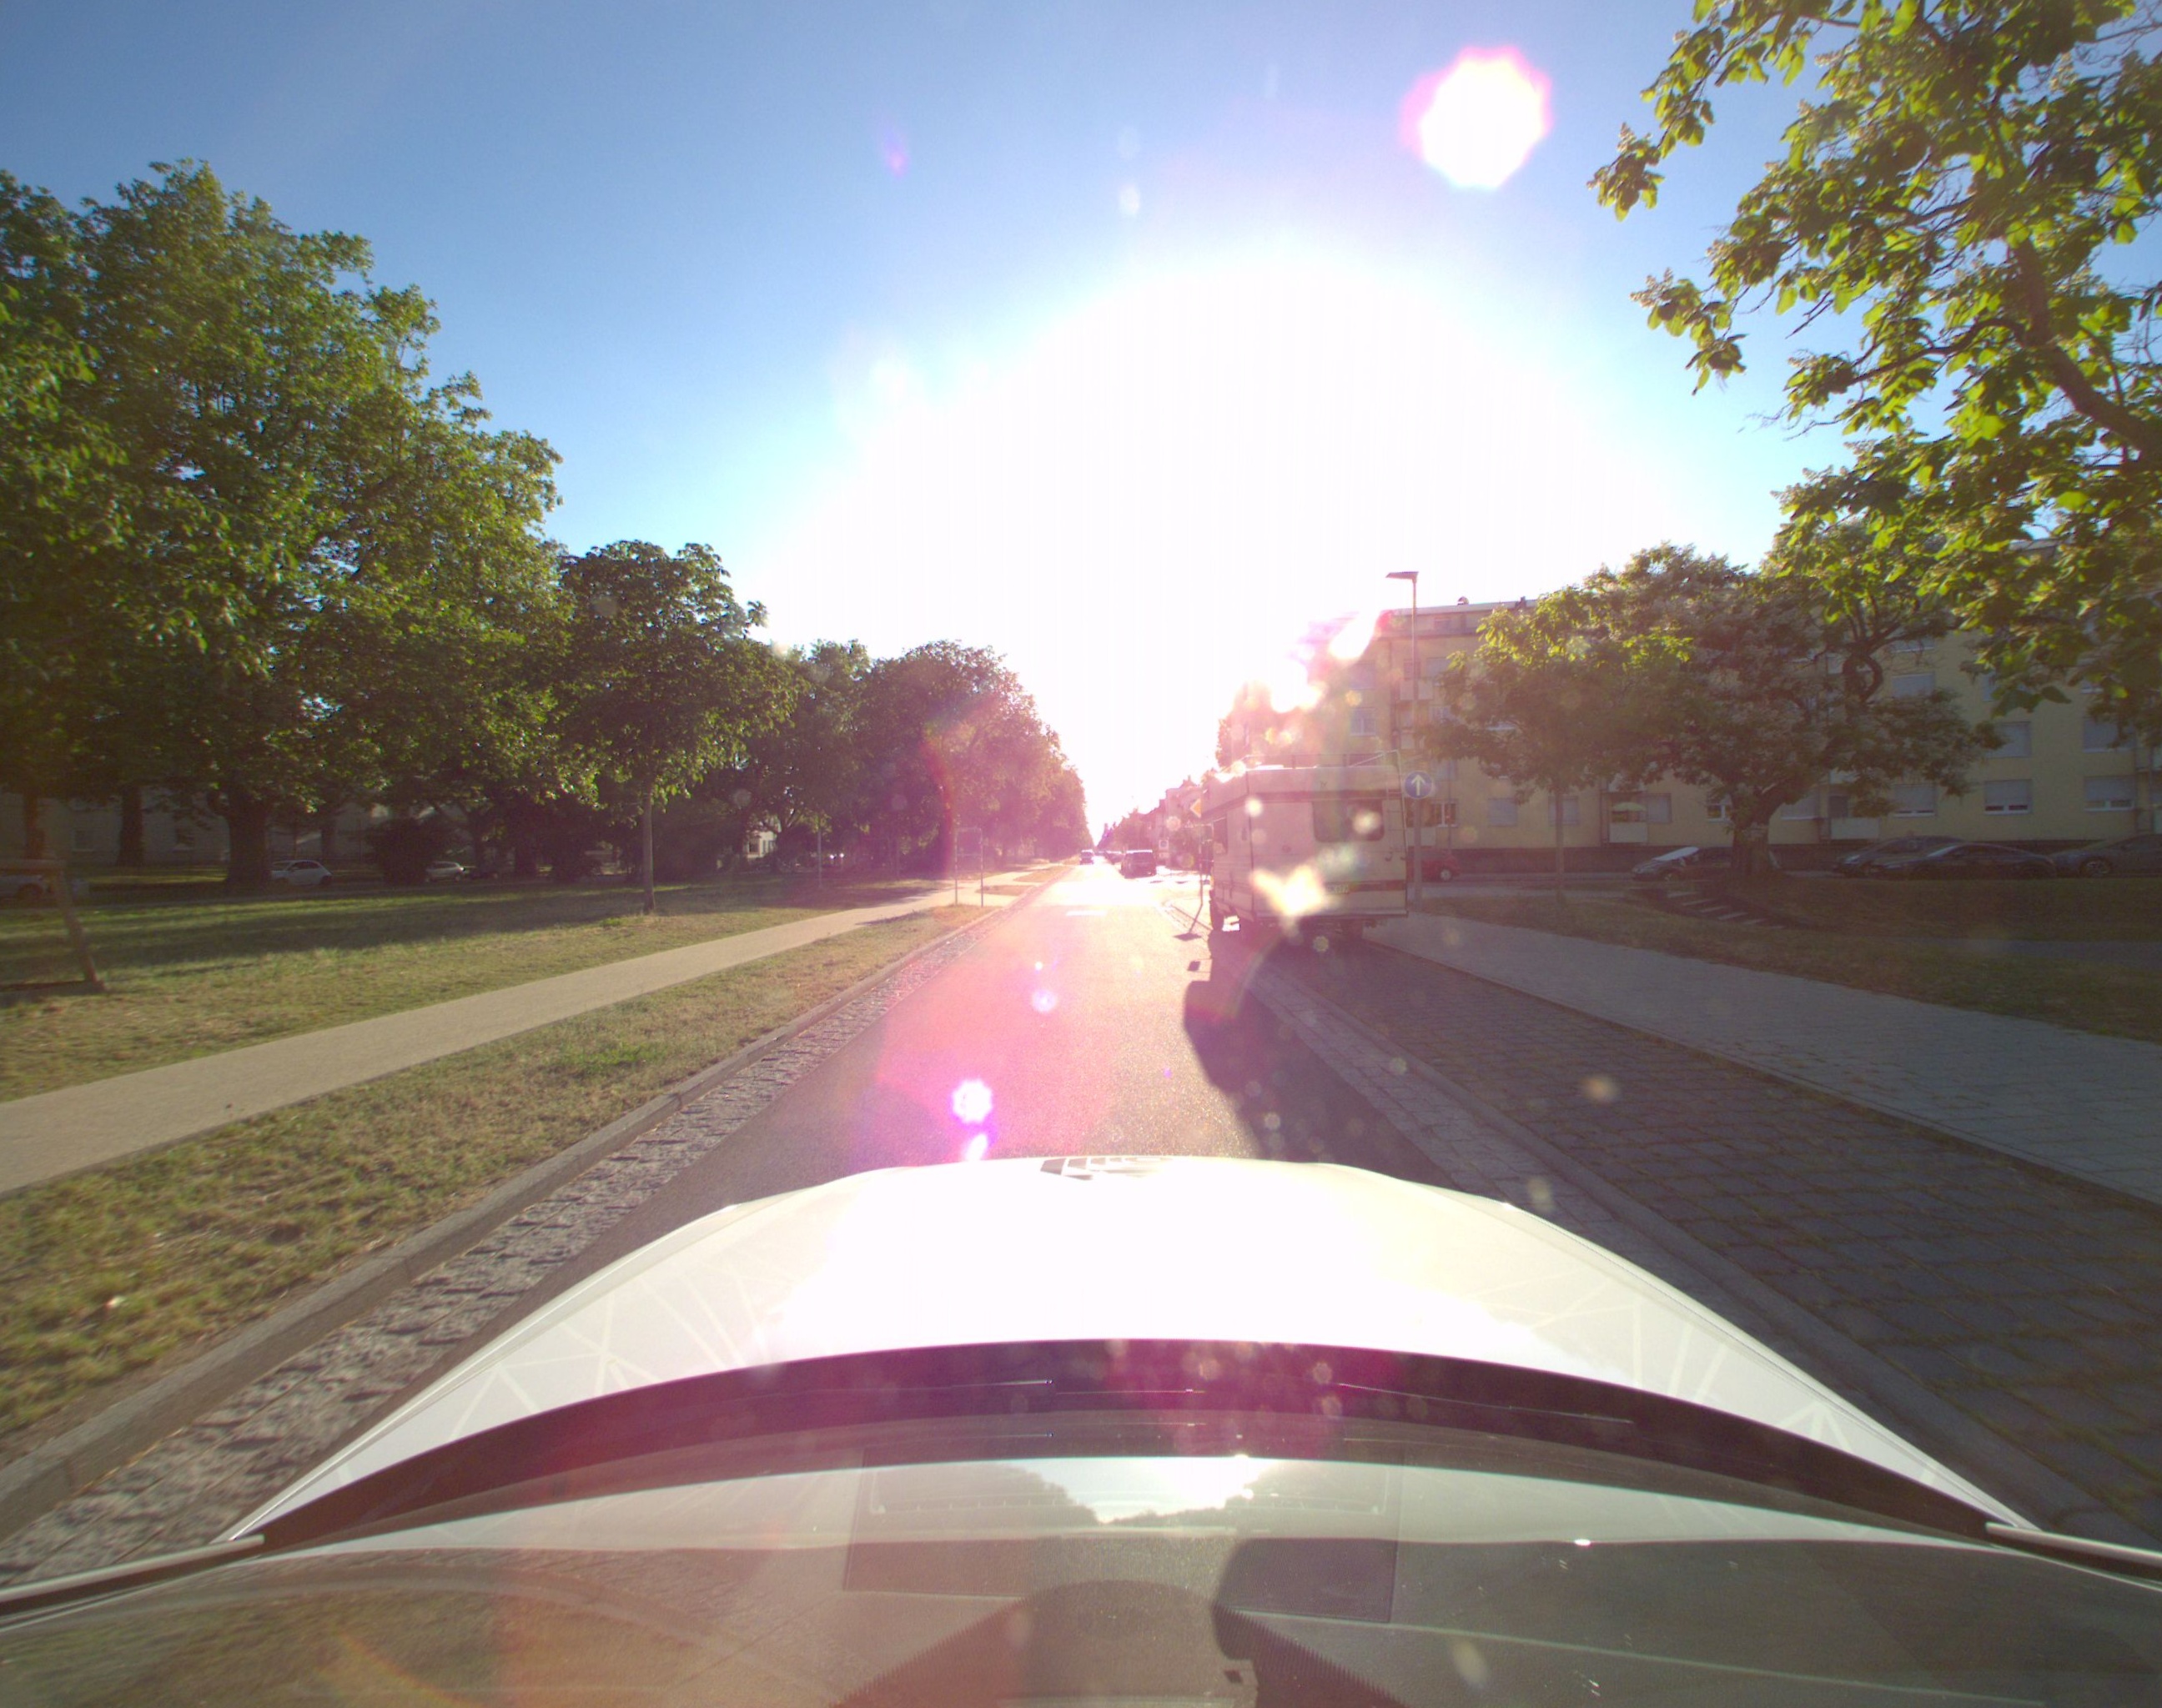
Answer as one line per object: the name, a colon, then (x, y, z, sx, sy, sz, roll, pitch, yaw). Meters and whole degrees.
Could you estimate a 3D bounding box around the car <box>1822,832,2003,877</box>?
car: (31.736, 0.050, 31.249, 4.474, 1.569, 1.890, -1, 0, 19)

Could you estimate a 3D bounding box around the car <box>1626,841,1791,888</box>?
car: (21.438, 0.364, 28.001, 4.163, 1.463, 1.700, -1, 0, 16)

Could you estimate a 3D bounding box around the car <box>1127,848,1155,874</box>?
car: (4.036, 0.483, 55.062, 1.621, 1.669, 4.249, -1, 0, 1)

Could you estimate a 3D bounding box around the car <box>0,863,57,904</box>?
car: (-41.505, 1.127, 30.100, 1.986, 1.508, 4.117, -1, 0, 2)

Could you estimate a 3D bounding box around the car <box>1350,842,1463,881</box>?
car: (14.112, 0.331, 35.533, 4.175, 1.530, 2.003, -1, 0, 5)

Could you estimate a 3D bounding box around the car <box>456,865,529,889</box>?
car: (-41.104, 1.584, 56.959, 1.986, 1.508, 4.117, -1, 0, 2)

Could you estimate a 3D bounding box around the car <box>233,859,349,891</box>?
car: (-41.183, 1.061, 42.610, 1.986, 1.508, 4.117, -1, 0, 2)

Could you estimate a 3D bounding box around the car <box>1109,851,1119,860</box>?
car: (5.614, 0.298, 140.197, 1.621, 1.410, 4.249, -1, 0, 1)

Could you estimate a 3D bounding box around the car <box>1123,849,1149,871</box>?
car: (4.415, 0.495, 65.769, 1.985, 1.717, 4.004, -1, 0, 4)

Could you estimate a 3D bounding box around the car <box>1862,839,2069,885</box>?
car: (28.074, 0.260, 26.032, 4.159, 1.357, 1.702, -1, 0, 21)

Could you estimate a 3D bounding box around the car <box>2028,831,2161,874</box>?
car: (36.725, -0.063, 28.686, 3.949, 1.453, 1.892, -2, 0, 29)

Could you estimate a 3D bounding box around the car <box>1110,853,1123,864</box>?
car: (4.706, 0.615, 108.661, 1.621, 1.410, 4.249, -1, 0, 1)

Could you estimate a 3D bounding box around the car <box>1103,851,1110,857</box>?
car: (6.576, -0.044, 208.639, 1.621, 1.410, 4.249, -1, 0, 1)

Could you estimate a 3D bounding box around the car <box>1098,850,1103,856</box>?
car: (5.879, -0.245, 245.725, 1.621, 1.669, 4.249, -1, 0, 1)

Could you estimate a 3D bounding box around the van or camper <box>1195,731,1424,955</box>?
van or camper: (3.406, -0.095, 13.573, 2.226, 2.904, 5.673, -1, -1, 1)

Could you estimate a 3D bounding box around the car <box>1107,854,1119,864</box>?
car: (4.757, 0.666, 119.728, 1.621, 1.410, 4.249, -1, 0, 1)

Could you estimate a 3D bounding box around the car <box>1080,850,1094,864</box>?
car: (0.824, 0.385, 107.152, 1.819, 1.669, 4.249, -1, 0, 1)

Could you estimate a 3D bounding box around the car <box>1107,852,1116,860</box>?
car: (5.832, 0.408, 156.239, 1.621, 1.410, 4.249, -1, 0, 1)

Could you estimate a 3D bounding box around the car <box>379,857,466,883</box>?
car: (-41.132, 0.981, 51.034, 1.986, 1.508, 4.117, -1, 0, 2)
